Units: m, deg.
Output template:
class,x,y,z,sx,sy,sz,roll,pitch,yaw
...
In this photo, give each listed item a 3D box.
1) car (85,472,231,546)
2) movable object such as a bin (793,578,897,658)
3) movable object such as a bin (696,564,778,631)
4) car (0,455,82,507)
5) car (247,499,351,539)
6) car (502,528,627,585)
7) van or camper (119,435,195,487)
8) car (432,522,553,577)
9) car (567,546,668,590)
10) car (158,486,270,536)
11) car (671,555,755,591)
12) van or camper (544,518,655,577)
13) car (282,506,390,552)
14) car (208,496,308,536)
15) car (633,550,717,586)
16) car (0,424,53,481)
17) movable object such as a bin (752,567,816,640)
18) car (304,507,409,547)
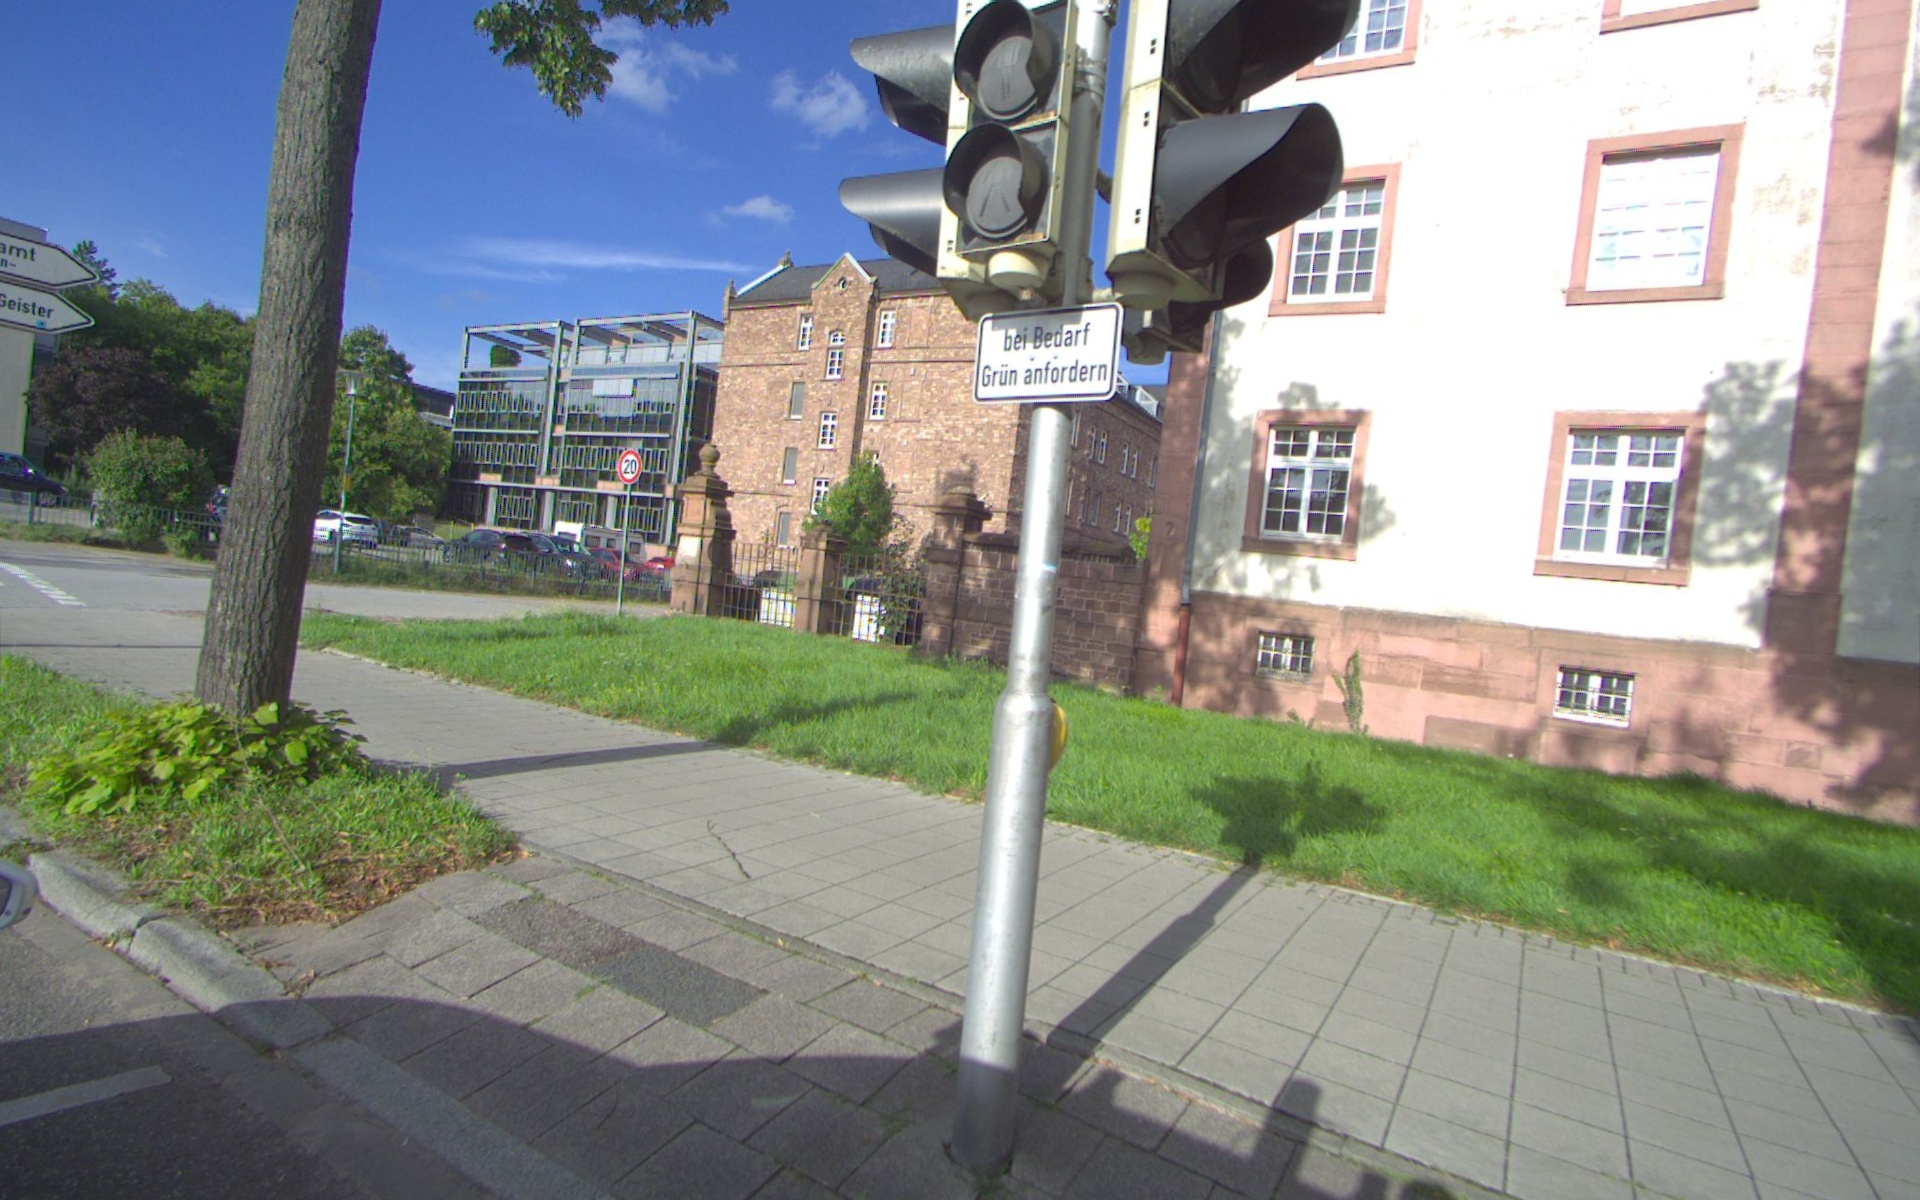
class,x,y,z,sx,sy,sz,roll,pitch,yaw
car,-23.382,-2.661,29.303,4.082,1.687,1.995,7,2,32
movable object such as a bin,-2.415,0.395,21.264,1.517,1.477,1.416,7,0,27
movable object such as a bin,-4.689,-0.043,21.209,1.074,1.246,1.193,7,0,27
car,-36.962,-4.730,38.664,1.968,1.642,4.448,7,1,34
car,-34.298,-4.180,52.322,1.966,1.505,3.991,7,1,30
car,-15.696,-1.734,39.908,4.717,1.766,1.853,6,2,26
van or camper,-51.425,-8.878,64.382,5.038,2.915,2.327,7,4,33
car,-17.562,-1.899,37.717,4.531,1.610,1.851,6,2,32
car,-14.463,-1.367,42.491,3.888,1.282,1.712,9,3,26
car,-29.246,-3.496,39.445,3.930,1.461,1.996,7,1,28
car,-12.977,-1.396,53.077,1.966,1.460,3.990,7,1,31
van or camper,-19.976,-2.859,56.017,2.551,2.589,5.245,7,1,29
car,-26.868,-3.065,43.341,3.927,1.461,1.998,7,1,24
car,-38.472,-4.591,55.206,1.966,1.572,3.991,7,1,30
car,-15.305,-1.716,54.182,1.966,1.460,3.990,7,1,31
car,-42.327,-6.593,43.548,1.968,2.214,4.120,7,1,34
movable object such as a bin,-3.834,0.078,21.929,0.926,1.441,0.831,7,1,27
car,-30.026,-3.637,50.128,1.969,1.326,3.989,6,-1,36
